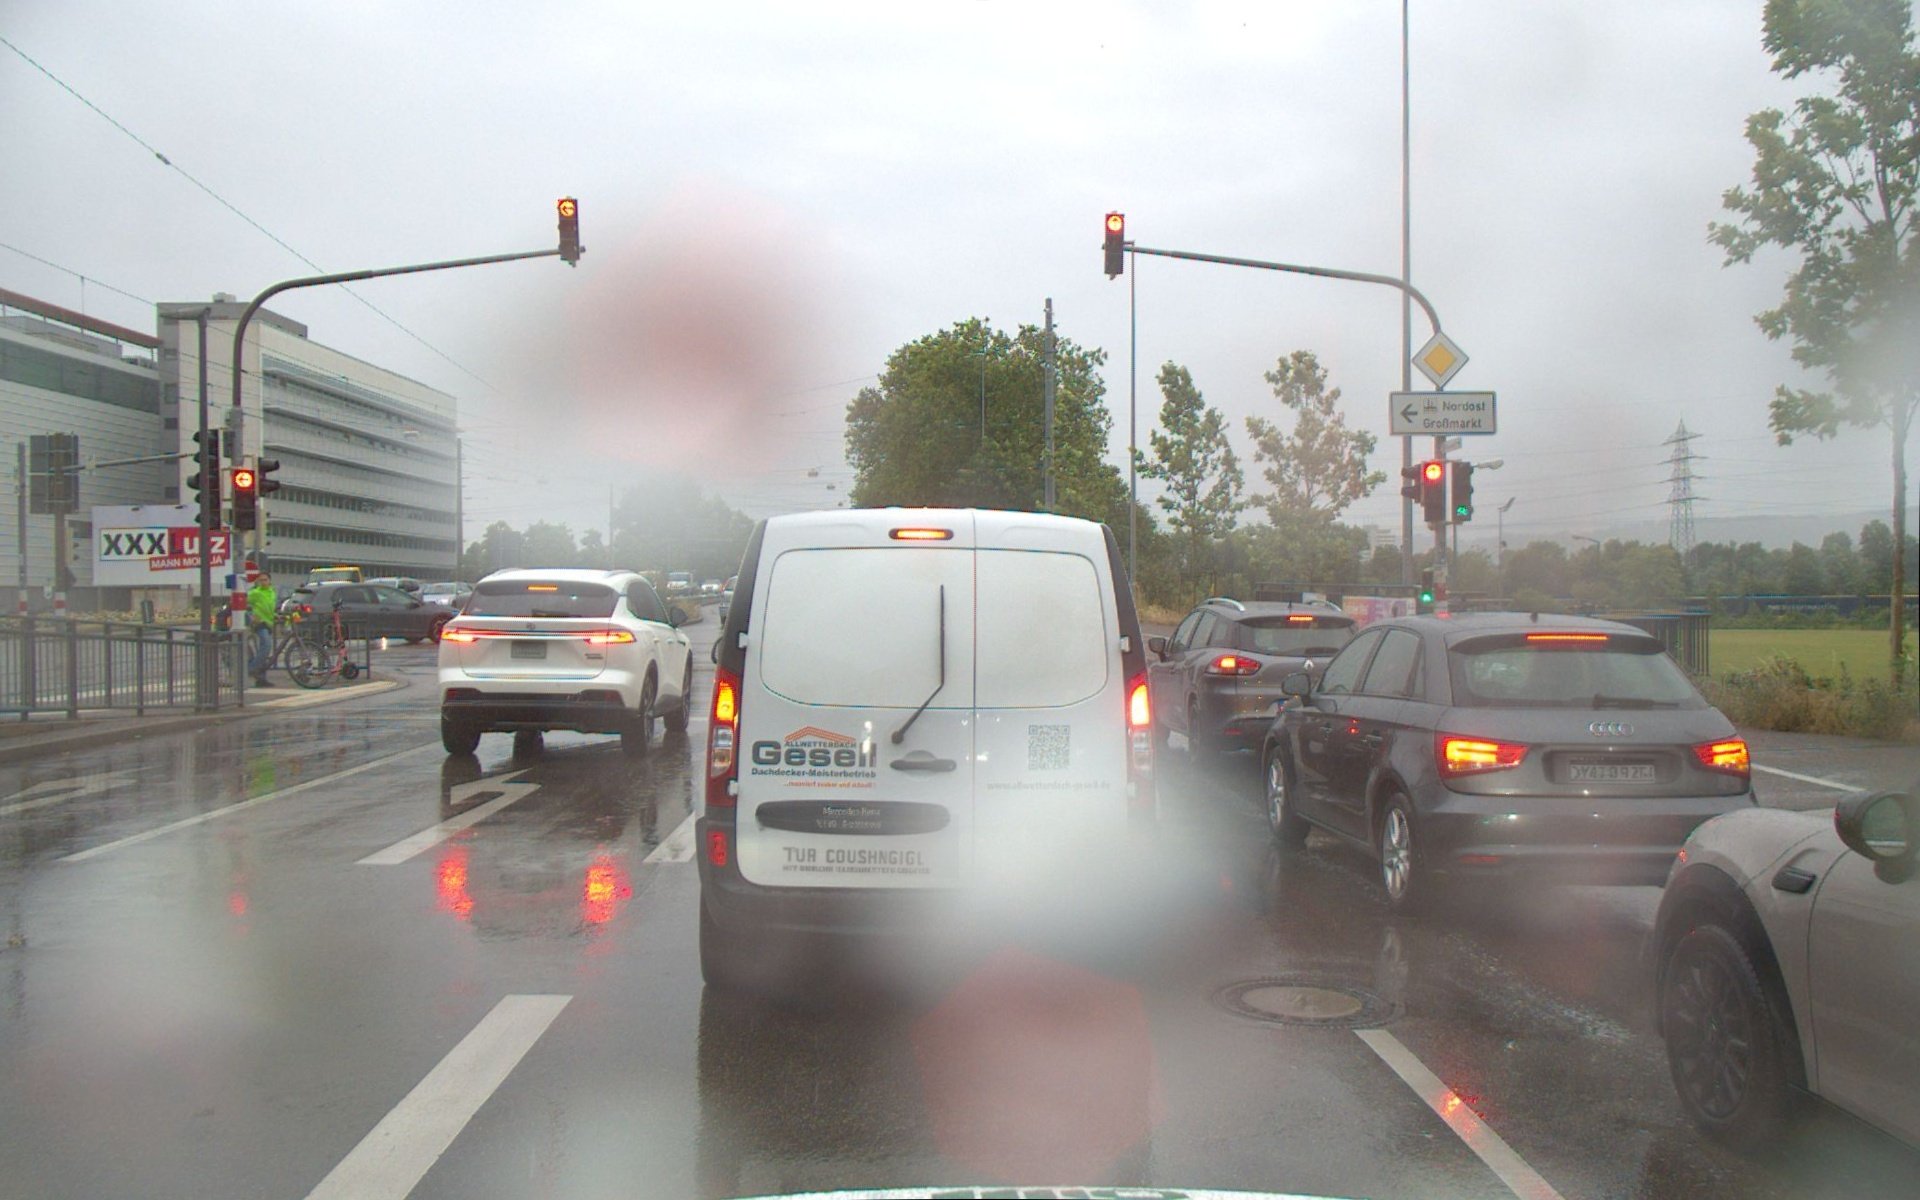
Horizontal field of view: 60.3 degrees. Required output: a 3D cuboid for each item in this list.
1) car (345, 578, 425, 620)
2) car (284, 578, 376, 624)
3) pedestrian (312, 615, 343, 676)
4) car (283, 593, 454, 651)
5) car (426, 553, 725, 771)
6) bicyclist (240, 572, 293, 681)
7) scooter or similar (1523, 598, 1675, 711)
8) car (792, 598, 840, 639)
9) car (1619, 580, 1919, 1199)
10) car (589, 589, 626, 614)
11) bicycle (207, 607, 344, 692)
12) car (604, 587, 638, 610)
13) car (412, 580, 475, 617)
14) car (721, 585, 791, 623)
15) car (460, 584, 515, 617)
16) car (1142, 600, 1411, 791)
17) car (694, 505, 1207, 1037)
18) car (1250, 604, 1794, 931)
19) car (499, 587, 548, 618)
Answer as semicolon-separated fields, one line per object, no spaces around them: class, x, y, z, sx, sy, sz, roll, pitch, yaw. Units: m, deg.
car;-21.767;-0.012;62.744;1.676;1.451;3.808;2;-1;-1
car;-21.589;0.052;56.840;1.676;1.451;3.808;2;-1;-1
pedestrian;-9.698;0.697;25.363;0.309;0.913;0.380;2;0;-3
car;-13.886;0.533;38.886;3.500;1.229;1.421;3;-1;-39
car;-3.591;0.526;16.354;1.891;1.806;4.663;1;0;-1
bicyclist;-9.819;0.371;23.447;0.593;1.517;0.597;1;0;-17
scooter or similar;7.638;0.604;19.937;0.676;1.232;3.020;0;0;0
car;-5.942;0.746;68.567;1.602;1.549;3.774;4;0;-1
car;2.969;0.759;3.298;1.668;1.534;3.878;3;-1;-1
car;-21.928;0.088;102.989;1.528;1.451;3.568;2;-1;-1
bicycle;-9.693;0.703;23.460;1.726;1.157;0.517;1;0;-19
car;-22.821;-0.087;111.333;1.528;1.451;3.568;2;-1;-1
car;-21.823;-0.032;69.978;1.528;1.451;3.568;2;-1;-1
car;-6.594;0.153;53.721;1.460;1.104;3.538;2;-1;6
car;-21.983;0.032;77.056;1.528;1.451;3.568;2;-1;-1
car;2.813;0.784;15.519;1.650;1.534;3.919;1;0;-2
car;-0.172;0.548;7.683;1.719;1.780;4.166;1;1;-4
car;2.767;0.755;9.007;1.565;1.390;3.628;-1;-1;-3
car;-22.025;0.149;83.543;1.528;1.451;3.568;2;-1;-1
